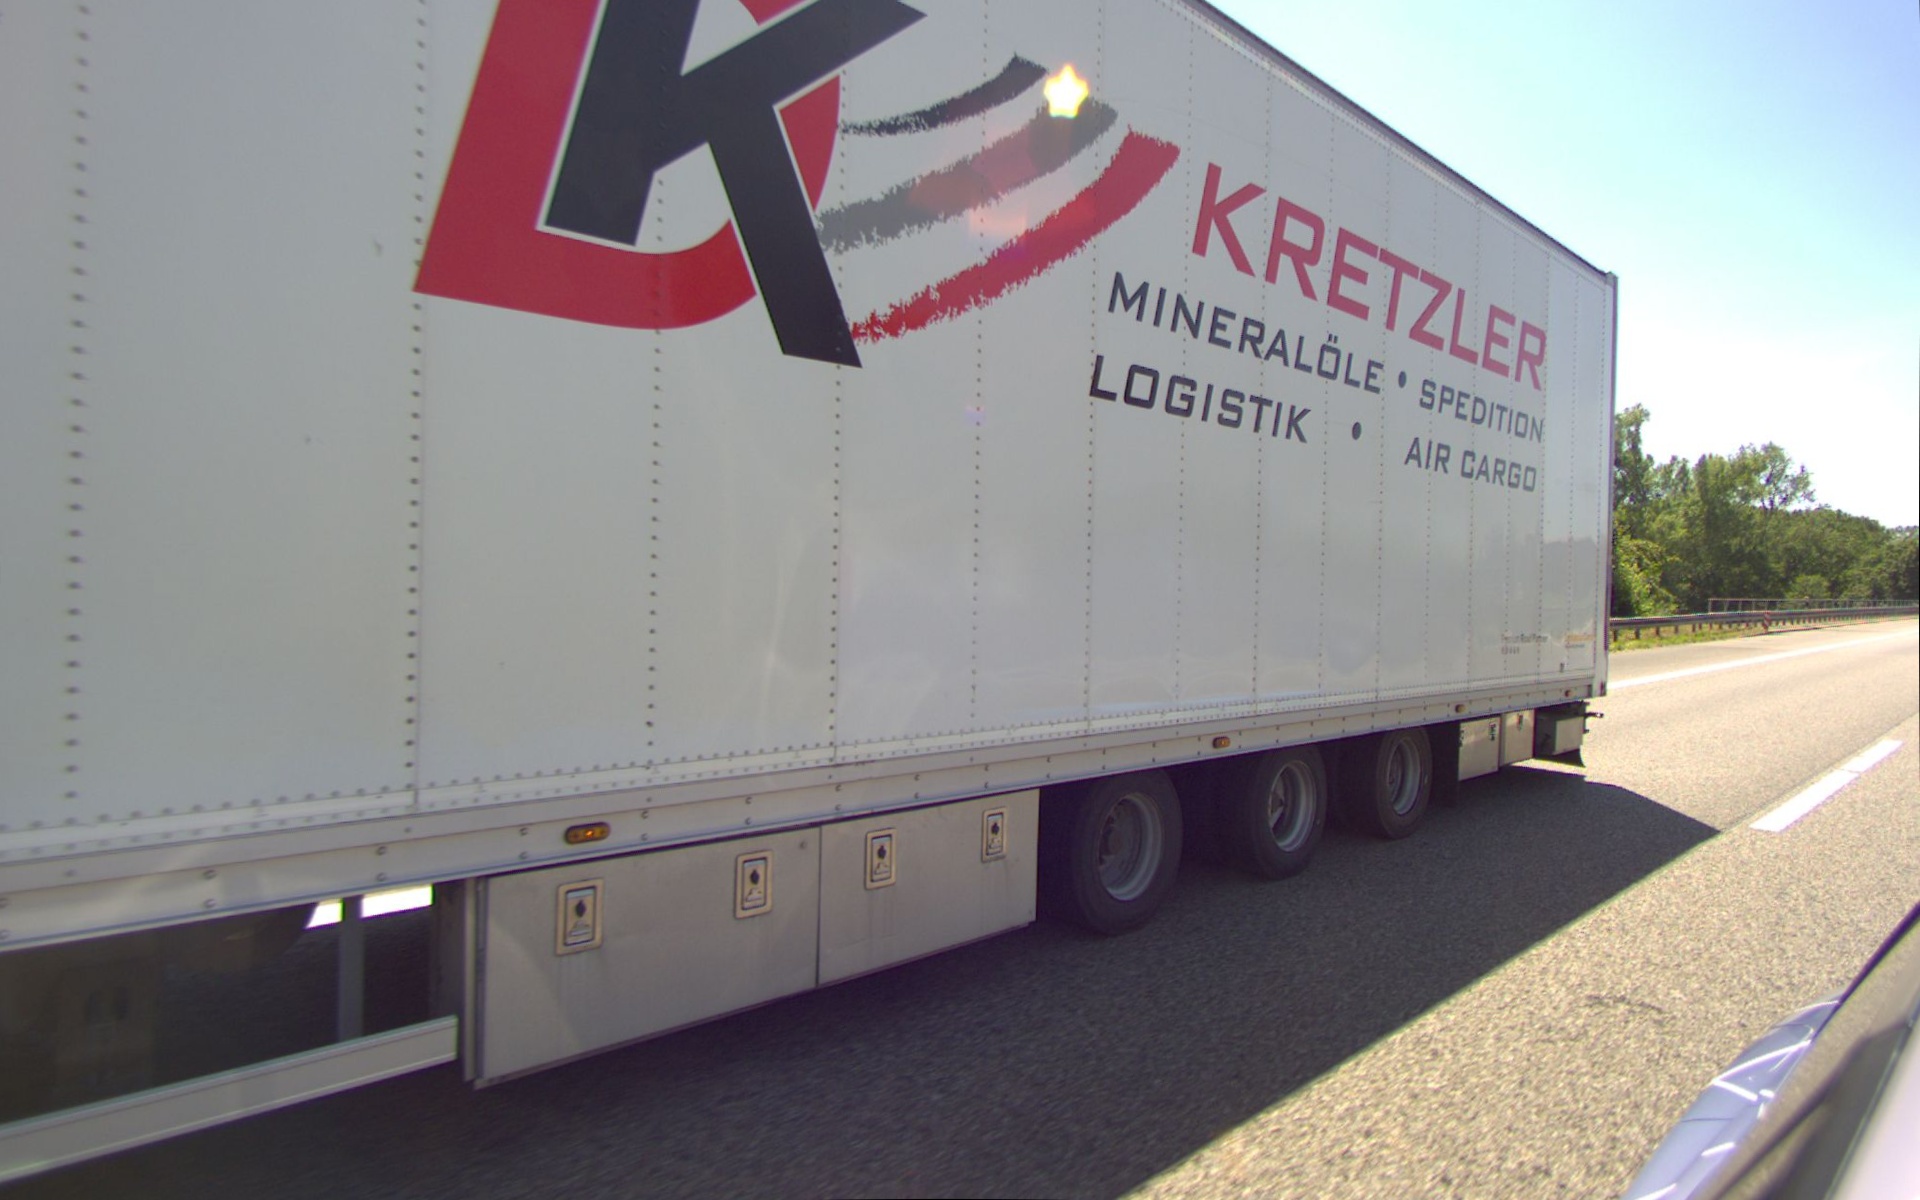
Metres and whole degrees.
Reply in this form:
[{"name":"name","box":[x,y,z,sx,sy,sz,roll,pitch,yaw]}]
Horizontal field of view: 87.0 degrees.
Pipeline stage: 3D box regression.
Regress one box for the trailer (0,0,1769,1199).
[{"name":"trailer","box":[1.804,-1.110,6.959,13.780,4.898,3.276,0,0,-40]}]
